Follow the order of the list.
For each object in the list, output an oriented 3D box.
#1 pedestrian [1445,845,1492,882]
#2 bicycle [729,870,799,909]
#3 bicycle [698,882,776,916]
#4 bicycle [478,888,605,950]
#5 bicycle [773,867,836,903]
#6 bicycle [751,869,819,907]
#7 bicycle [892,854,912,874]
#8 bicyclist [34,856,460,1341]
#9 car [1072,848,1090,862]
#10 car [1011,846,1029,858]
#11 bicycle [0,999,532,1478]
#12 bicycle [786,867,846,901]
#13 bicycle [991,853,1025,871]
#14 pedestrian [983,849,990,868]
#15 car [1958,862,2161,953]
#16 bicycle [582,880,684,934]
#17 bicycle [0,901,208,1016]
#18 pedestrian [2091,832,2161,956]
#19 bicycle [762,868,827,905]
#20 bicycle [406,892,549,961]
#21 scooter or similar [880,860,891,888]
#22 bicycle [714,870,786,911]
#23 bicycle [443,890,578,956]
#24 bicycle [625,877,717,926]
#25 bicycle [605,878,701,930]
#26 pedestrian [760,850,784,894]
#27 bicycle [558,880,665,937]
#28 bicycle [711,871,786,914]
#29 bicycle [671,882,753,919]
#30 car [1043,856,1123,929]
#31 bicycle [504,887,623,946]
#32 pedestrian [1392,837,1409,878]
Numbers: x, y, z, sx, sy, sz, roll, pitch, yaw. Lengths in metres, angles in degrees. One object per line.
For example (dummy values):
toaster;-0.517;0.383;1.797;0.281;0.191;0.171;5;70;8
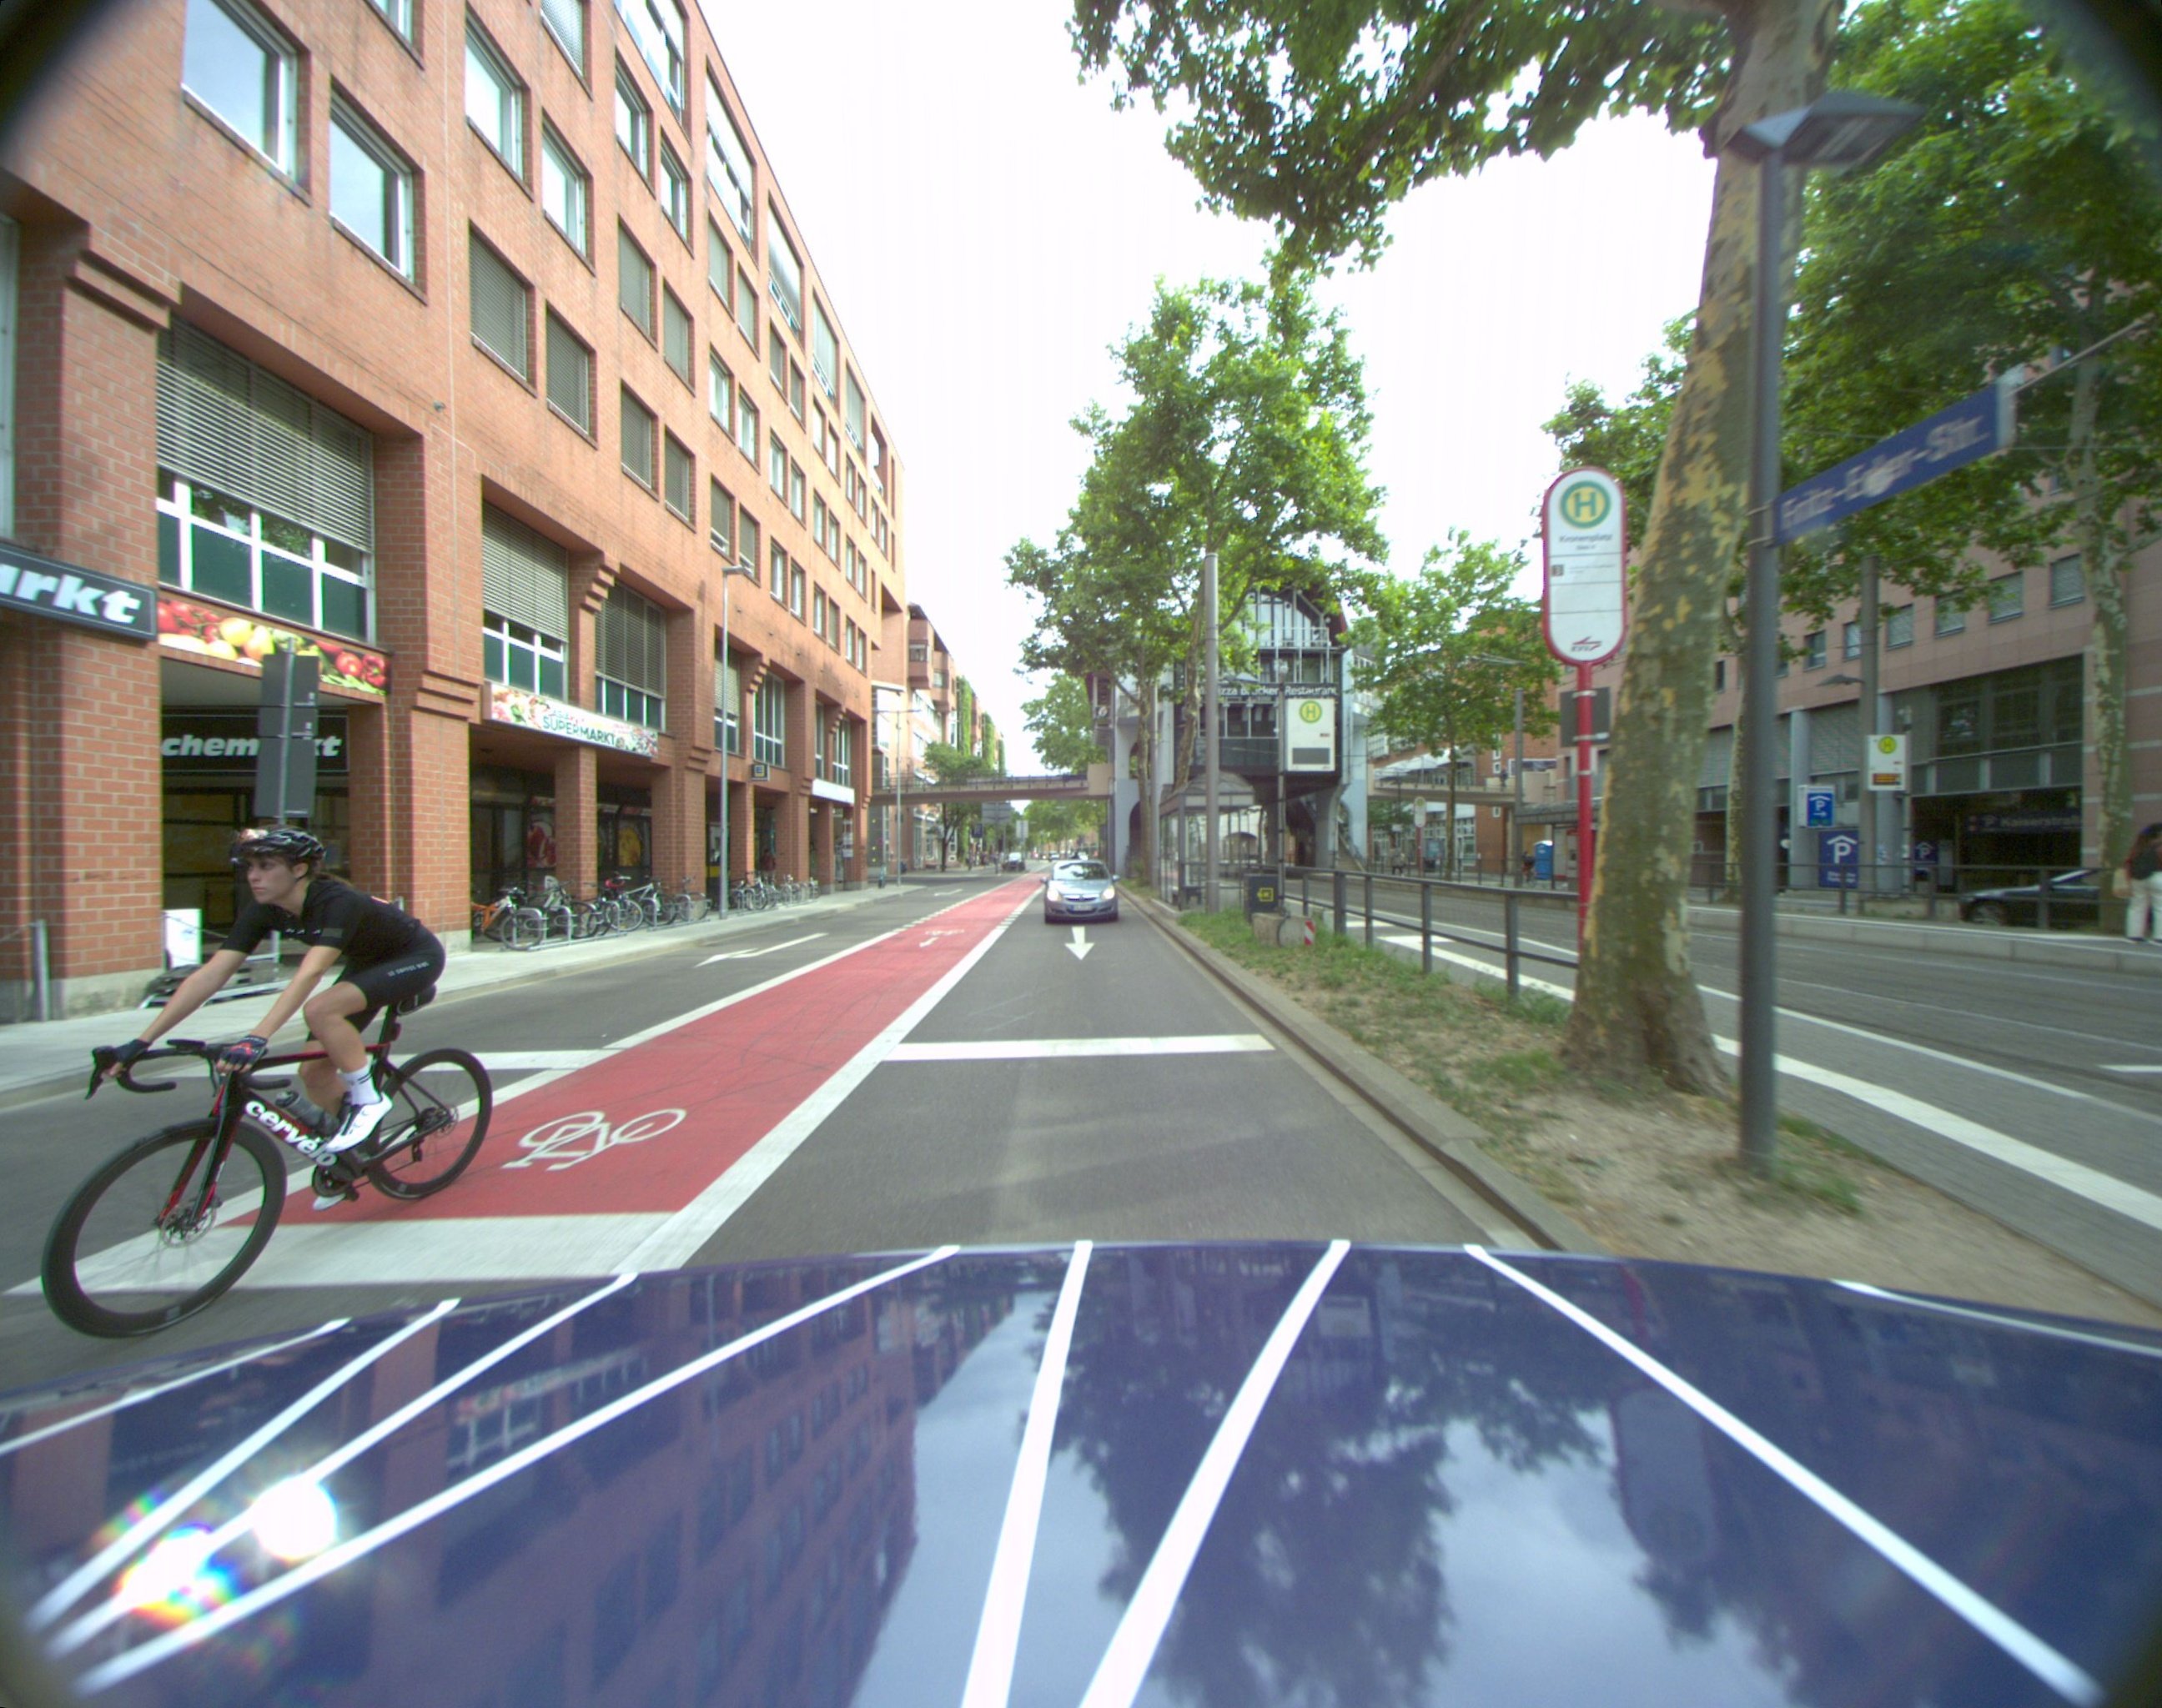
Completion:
pedestrian;22.300;0.525;43.792;1.695;2.002;2.034;-2;1;4
bicycle;-9.447;1.047;22.686;1.859;1.134;0.534;0;1;0
bicycle;-9.289;1.208;20.522;1.859;0.865;0.534;0;1;0
bicycle;-9.513;1.139;13.432;1.859;1.034;0.534;0;1;0
bicycle;-9.048;1.019;24.907;1.859;1.134;0.534;0;1;0
bicycle;-9.131;1.039;23.466;1.859;1.134;0.534;0;1;0
bicycle;-13.026;0.704;55.356;0.746;1.382;2.979;0;0;0
bicyclist;-3.111;0.821;2.945;0.613;1.594;0.847;-2;1;2
car;0.007;0.132;88.102;1.957;1.592;4.000;0;1;1
car;-8.211;-0.294;102.501;1.957;1.592;4.000;0;1;1
bicycle;-3.102;1.253;3.005;0.488;0.995;1.748;-2;1;2
bicycle;-8.946;1.007;25.681;1.859;1.134;0.534;0;1;0
bicycle;-5.924;0.614;61.739;2.584;1.430;0.769;0;1;2
pedestrian;-8.194;0.365;66.115;0.516;1.645;0.612;0;1;1
car;18.861;0.910;13.359;1.868;1.464;4.295;0;0;-1
bicycle;-9.531;1.121;16.197;1.859;1.105;0.534;0;1;0
bicycle;-10.773;1.089;8.130;0.483;1.078;1.868;3;1;40
pedestrian;13.693;0.493;9.748;0.658;1.529;0.558;0;3;-4
bicycle;-9.110;1.030;24.163;1.859;1.134;0.534;0;1;0
bicycle;-9.592;1.144;12.101;1.859;1.034;0.507;0;1;0
scooter or similar;-9.106;0.920;35.383;0.272;1.250;0.921;0;1;1
bicycle;-9.572;1.055;21.995;1.859;1.134;0.534;0;1;0
bicycle;-9.529;1.139;12.724;1.859;1.034;0.534;0;1;0
bicycle;-9.555;1.101;17.719;1.859;1.105;0.534;0;1;0
bicycle;-9.591;1.109;17.044;1.859;1.105;0.534;0;1;0
pedestrian;-12.582;0.709;30.944;0.614;1.767;0.780;0;1;1
bicycle;-9.521;1.096;15.442;1.859;1.105;0.534;0;1;0
bicycle;-9.254;1.069;21.189;1.859;1.134;0.534;0;1;0
bicycle;-9.527;1.196;19.655;1.859;0.888;0.534;0;1;0
car;-0.028;0.850;18.614;1.723;1.395;3.998;-2;2;-2
bicycle;-9.597;1.146;14.116;1.859;1.034;0.534;0;1;0
pedestrian;13.711;0.135;32.582;0.482;1.761;0.481;0;1;-7
